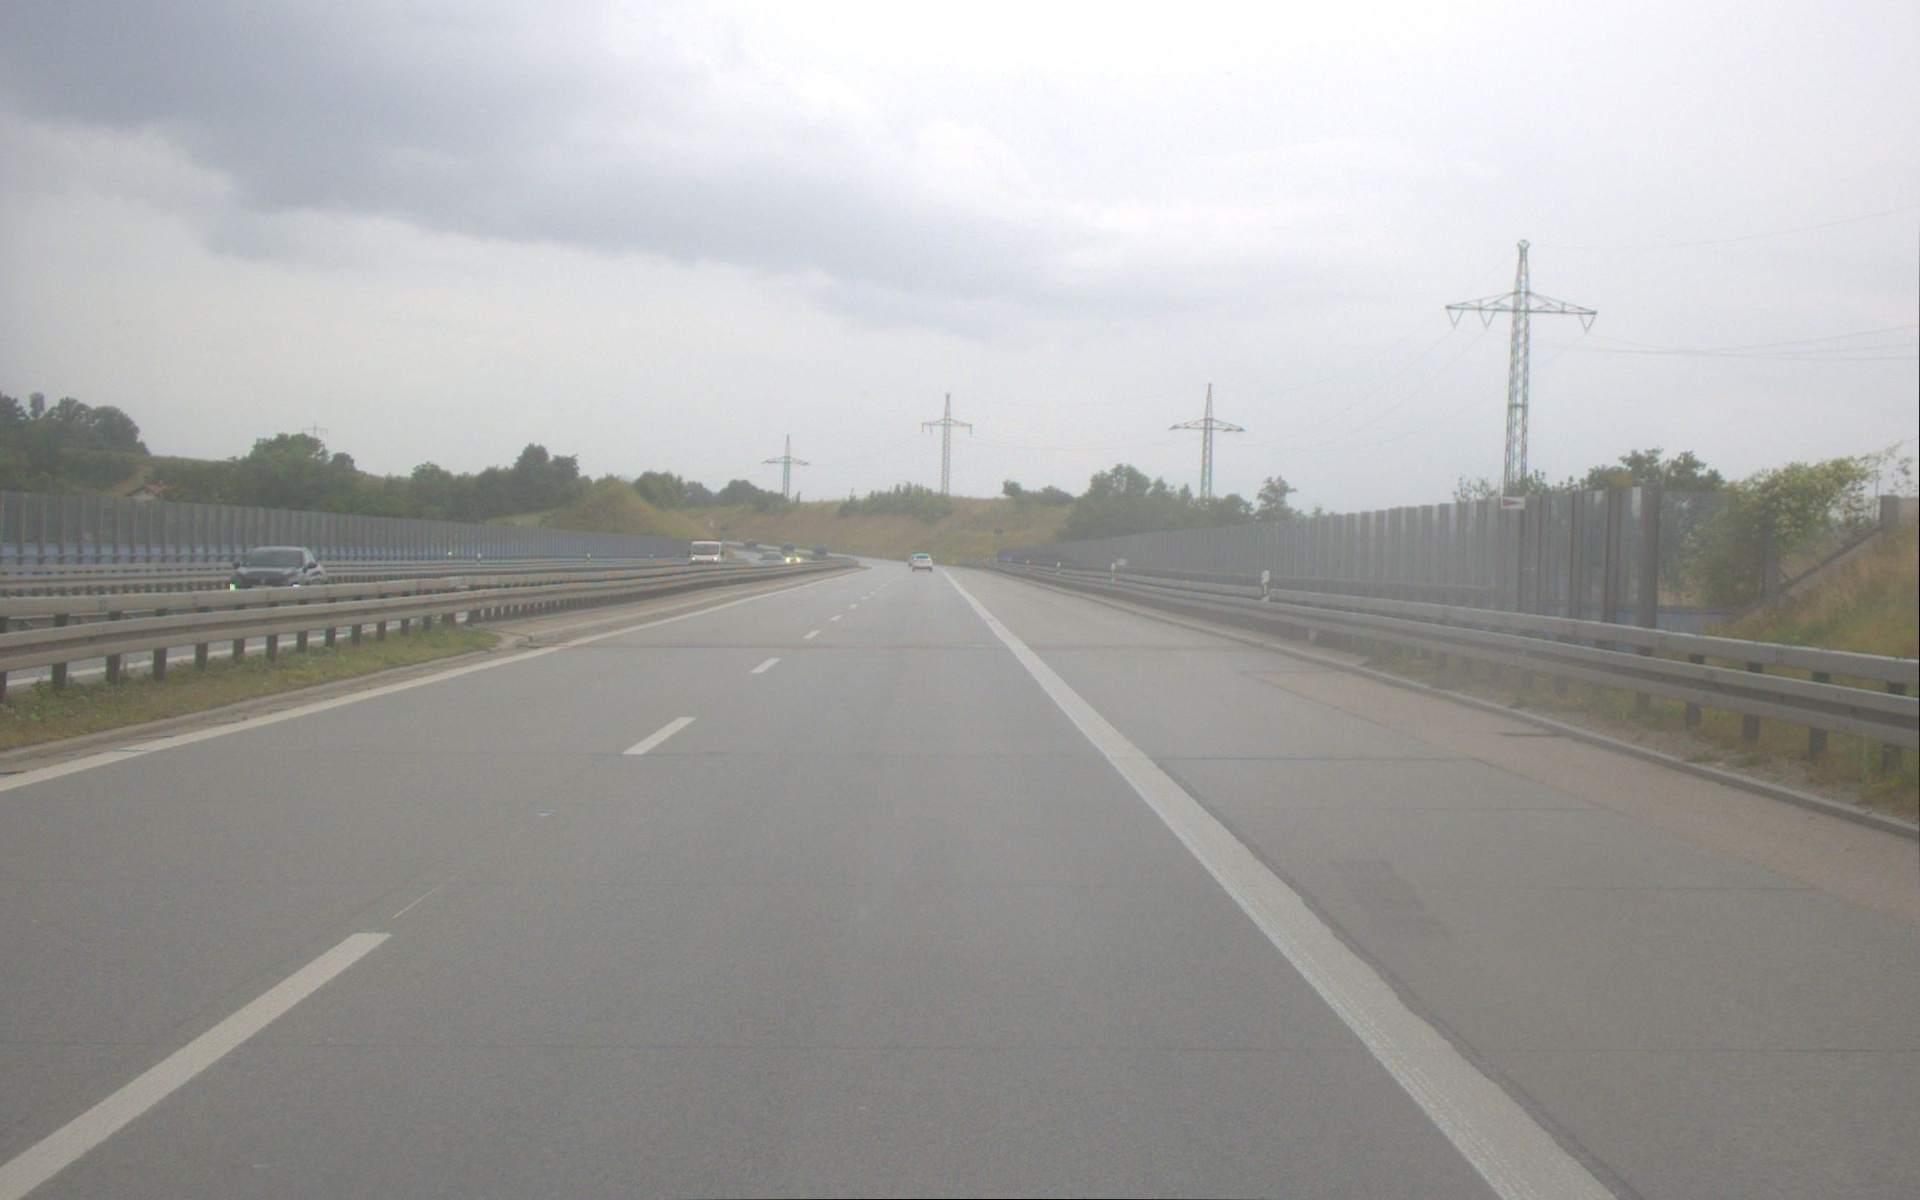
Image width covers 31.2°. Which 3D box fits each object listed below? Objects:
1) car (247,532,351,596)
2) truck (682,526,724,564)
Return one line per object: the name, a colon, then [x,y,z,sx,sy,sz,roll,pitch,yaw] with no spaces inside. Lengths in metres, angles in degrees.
car: [-15.251,-0.839,79.454,1.631,1.404,4.000,1,1,0]
truck: [-17.056,-3.633,228.270,2.272,2.423,7.452,1,1,0]
